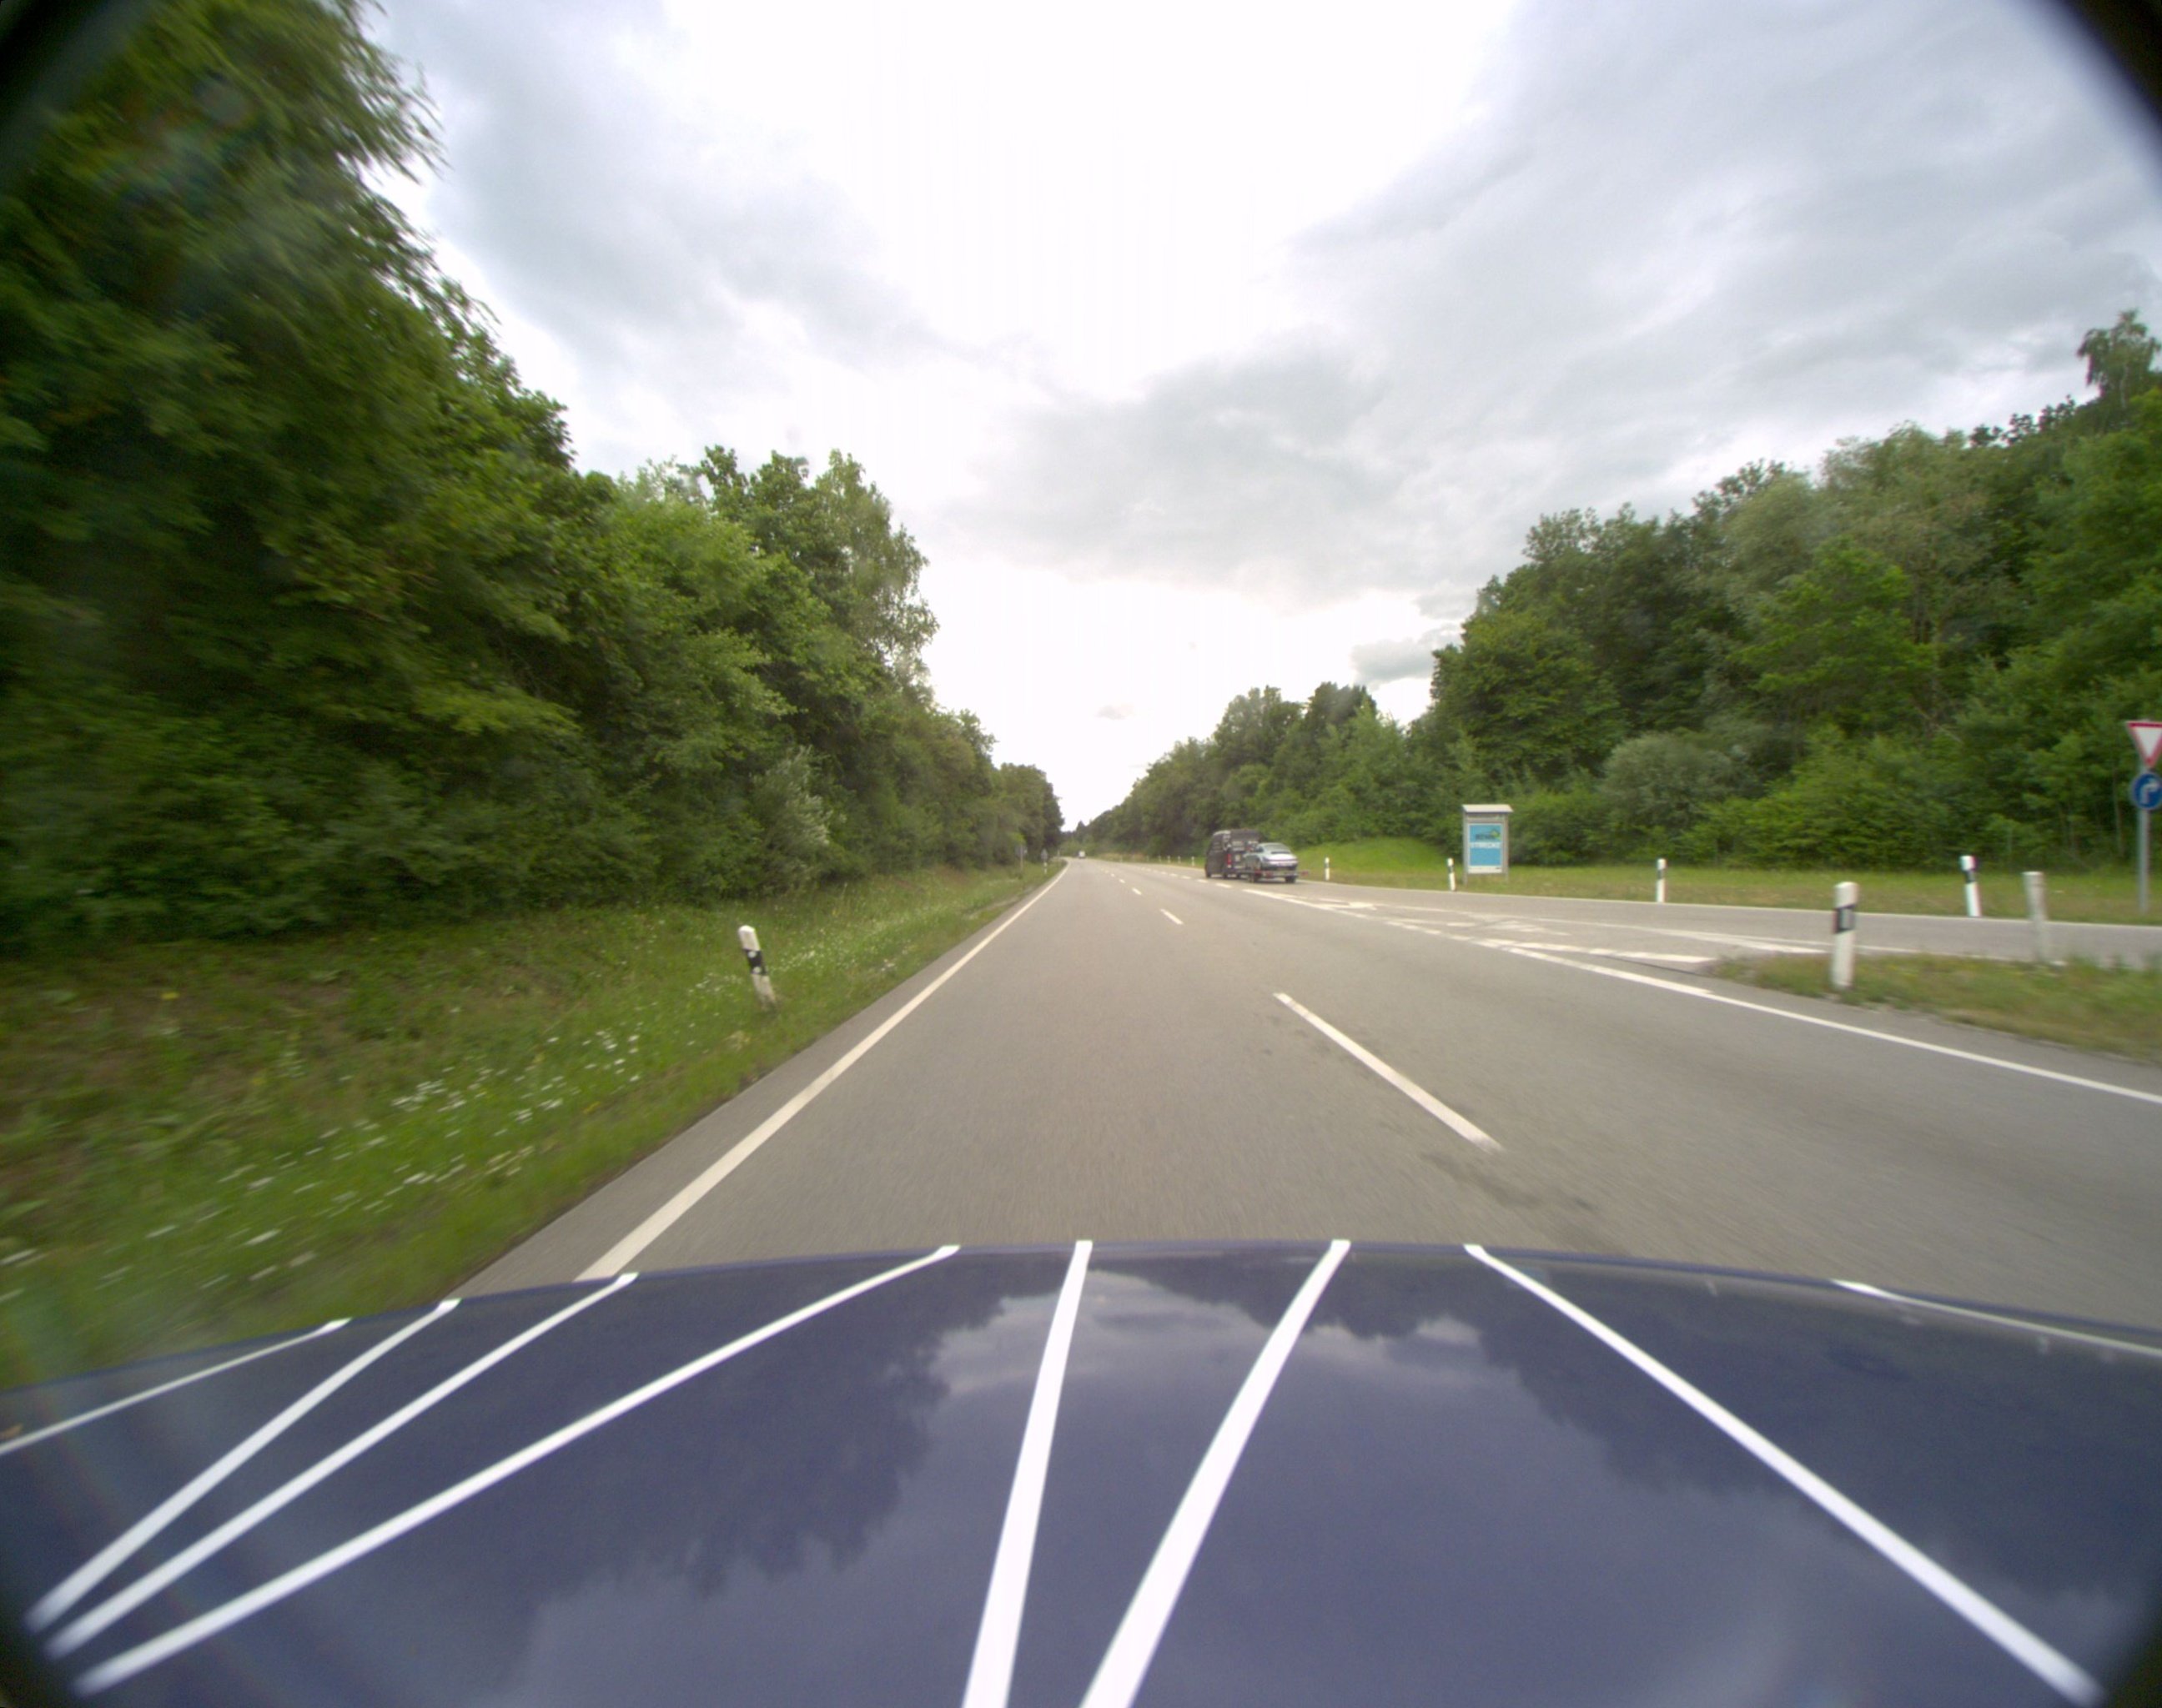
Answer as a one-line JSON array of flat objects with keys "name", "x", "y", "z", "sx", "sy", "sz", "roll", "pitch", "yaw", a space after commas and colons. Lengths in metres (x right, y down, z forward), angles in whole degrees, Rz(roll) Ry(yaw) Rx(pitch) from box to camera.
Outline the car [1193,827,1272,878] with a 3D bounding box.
[{"name": "car", "x": 8.118, "y": -0.090, "z": 41.597, "sx": 2.263, "sy": 2.515, "sz": 7.159, "roll": -1, "pitch": 0, "yaw": -6}]

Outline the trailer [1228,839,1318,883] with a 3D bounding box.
[{"name": "trailer", "x": 8.722, "y": 0.286, "z": 35.147, "sx": 2.061, "sy": 1.781, "sz": 5.686, "roll": -3, "pitch": 1, "yaw": -7}]
